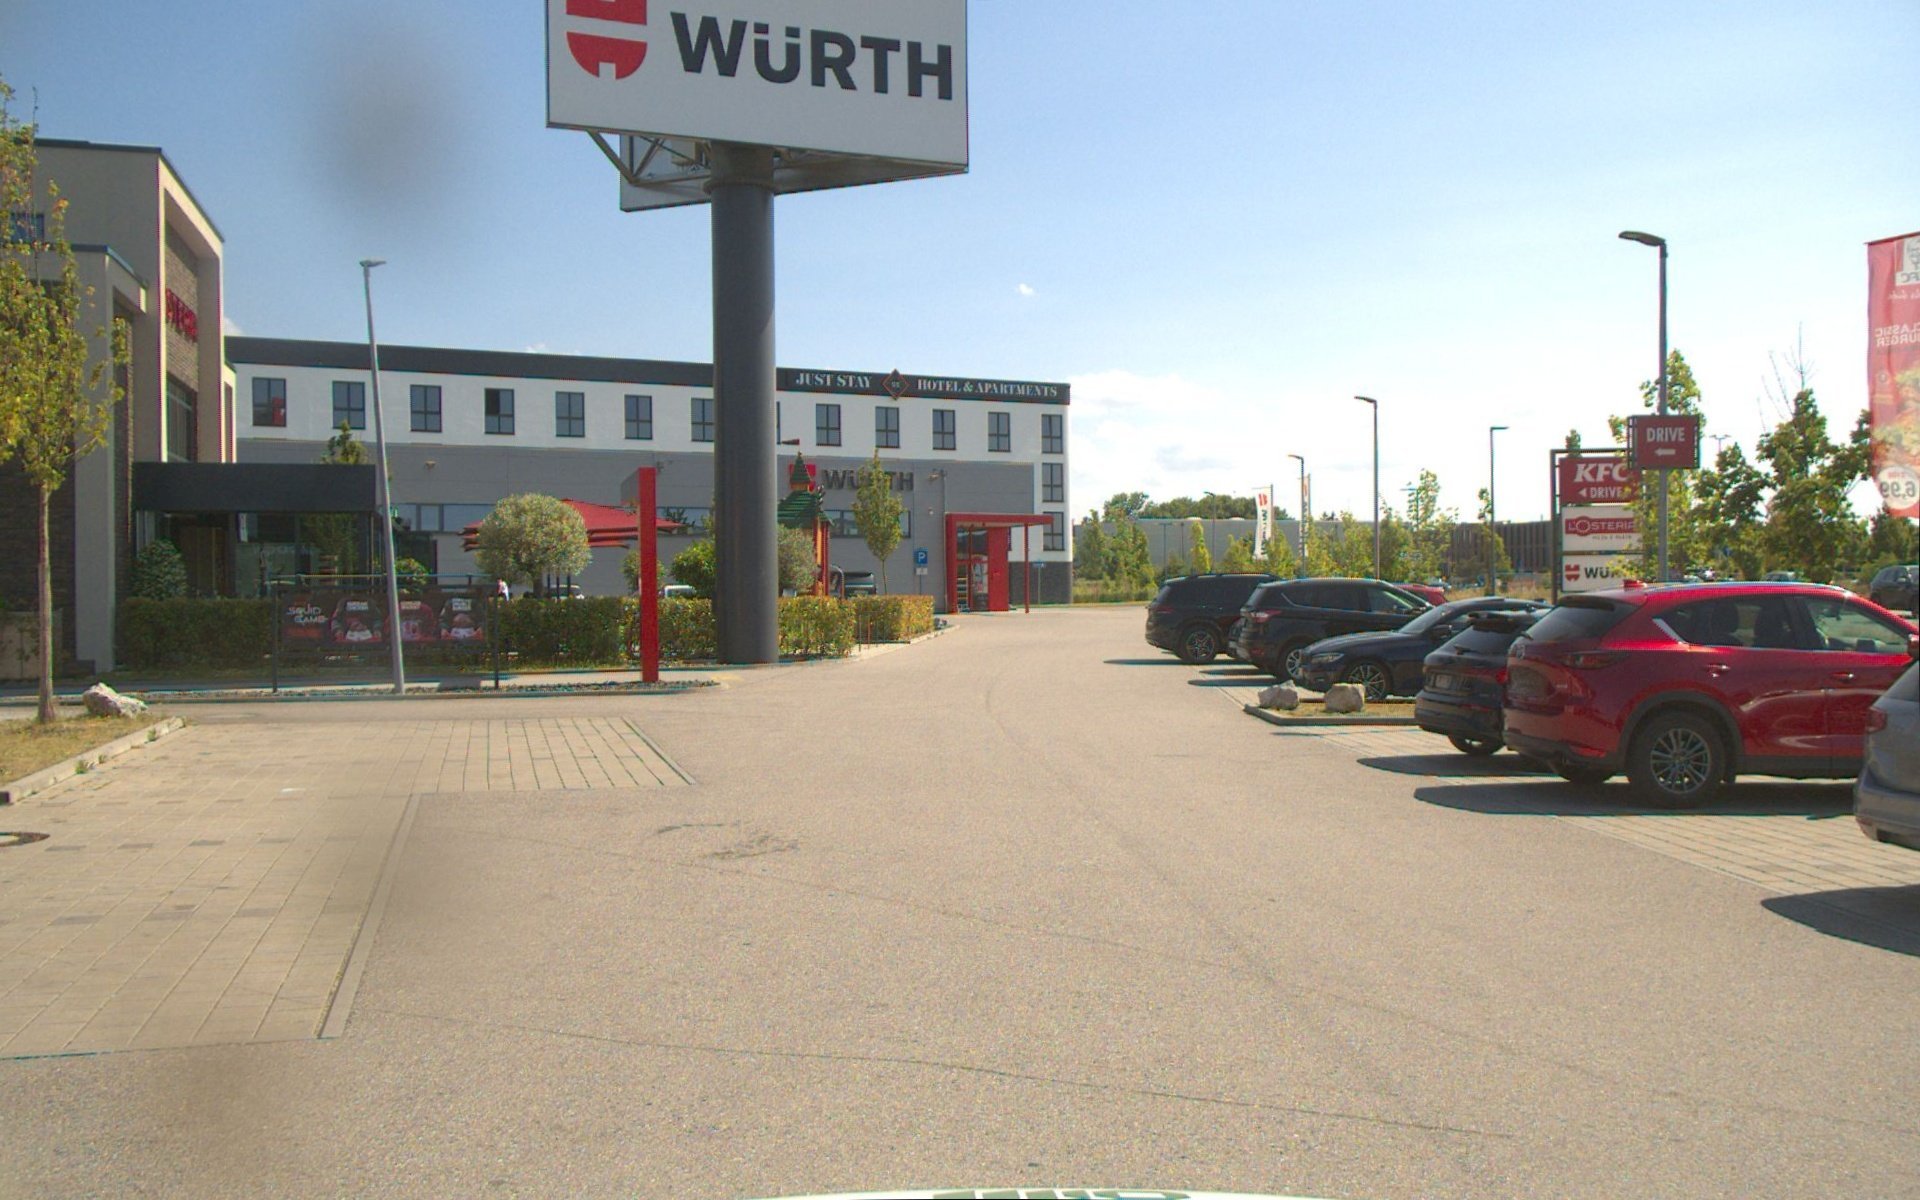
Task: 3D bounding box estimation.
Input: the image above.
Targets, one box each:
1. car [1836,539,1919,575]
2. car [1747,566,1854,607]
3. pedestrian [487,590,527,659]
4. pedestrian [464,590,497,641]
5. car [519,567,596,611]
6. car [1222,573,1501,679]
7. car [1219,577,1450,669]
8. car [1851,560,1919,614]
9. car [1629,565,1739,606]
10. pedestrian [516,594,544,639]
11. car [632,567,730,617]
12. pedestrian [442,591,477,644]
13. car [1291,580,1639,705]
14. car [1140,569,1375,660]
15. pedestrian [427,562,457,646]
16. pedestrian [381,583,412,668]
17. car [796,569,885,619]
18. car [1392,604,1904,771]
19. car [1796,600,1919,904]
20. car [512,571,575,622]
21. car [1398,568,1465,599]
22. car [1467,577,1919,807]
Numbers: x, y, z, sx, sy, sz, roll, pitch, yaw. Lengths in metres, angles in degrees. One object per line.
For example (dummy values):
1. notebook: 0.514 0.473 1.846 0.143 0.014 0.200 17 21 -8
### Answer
1. car: 53.640 -2.486 95.761 4.964 2.049 1.997 -1 1 -7
2. car: 32.642 -0.564 64.366 1.952 1.530 4.659 -1 1 2
3. pedestrian: -9.323 0.502 34.027 0.645 1.390 0.475 -1 1 -42
4. pedestrian: -11.728 0.384 40.479 0.694 1.219 0.615 -1 1 -9
5. car: -15.587 -0.453 63.935 1.925 1.613 4.337 -1 1 -28
6. car: 6.717 0.416 27.946 4.233 1.732 1.894 0 0 -5
7. car: 6.980 0.401 31.138 3.983 1.637 1.896 0 1 3
8. car: 31.261 -0.456 54.245 1.833 1.693 4.606 -1 1 4
9. car: 28.625 -0.609 65.522 1.955 1.553 4.651 -1 1 -6
10. pedestrian: -10.885 0.416 41.886 0.564 1.108 0.545 -1 1 -1
11. car: -9.119 -0.290 53.861 1.925 1.557 4.337 -1 1 -28
12. pedestrian: -11.891 0.402 39.284 0.698 1.219 0.663 -1 1 -24
13. car: 6.967 0.557 23.201 4.343 1.666 1.896 0 0 3
14. car: 6.019 0.281 33.864 4.481 1.791 1.896 0 0 1
15. pedestrian: -9.624 0.067 30.720 0.516 1.531 0.566 -1 1 -19
16. pedestrian: -10.420 0.460 30.576 0.516 1.531 0.566 -1 1 -19
17. car: -4.929 -0.281 67.642 2.045 1.913 4.841 -1 1 -25
18. car: 6.343 0.763 15.486 4.112 1.435 1.771 0 0 -7
19. car: 6.797 0.730 8.211 4.496 1.437 1.739 0 0 -5
20. car: -11.473 -0.109 45.711 1.614 1.331 3.828 -1 1 -13
21. car: 28.197 -1.008 99.086 1.958 1.763 4.747 -1 1 -11
22. car: 6.394 0.658 13.094 4.134 1.666 1.949 0 0 -5
